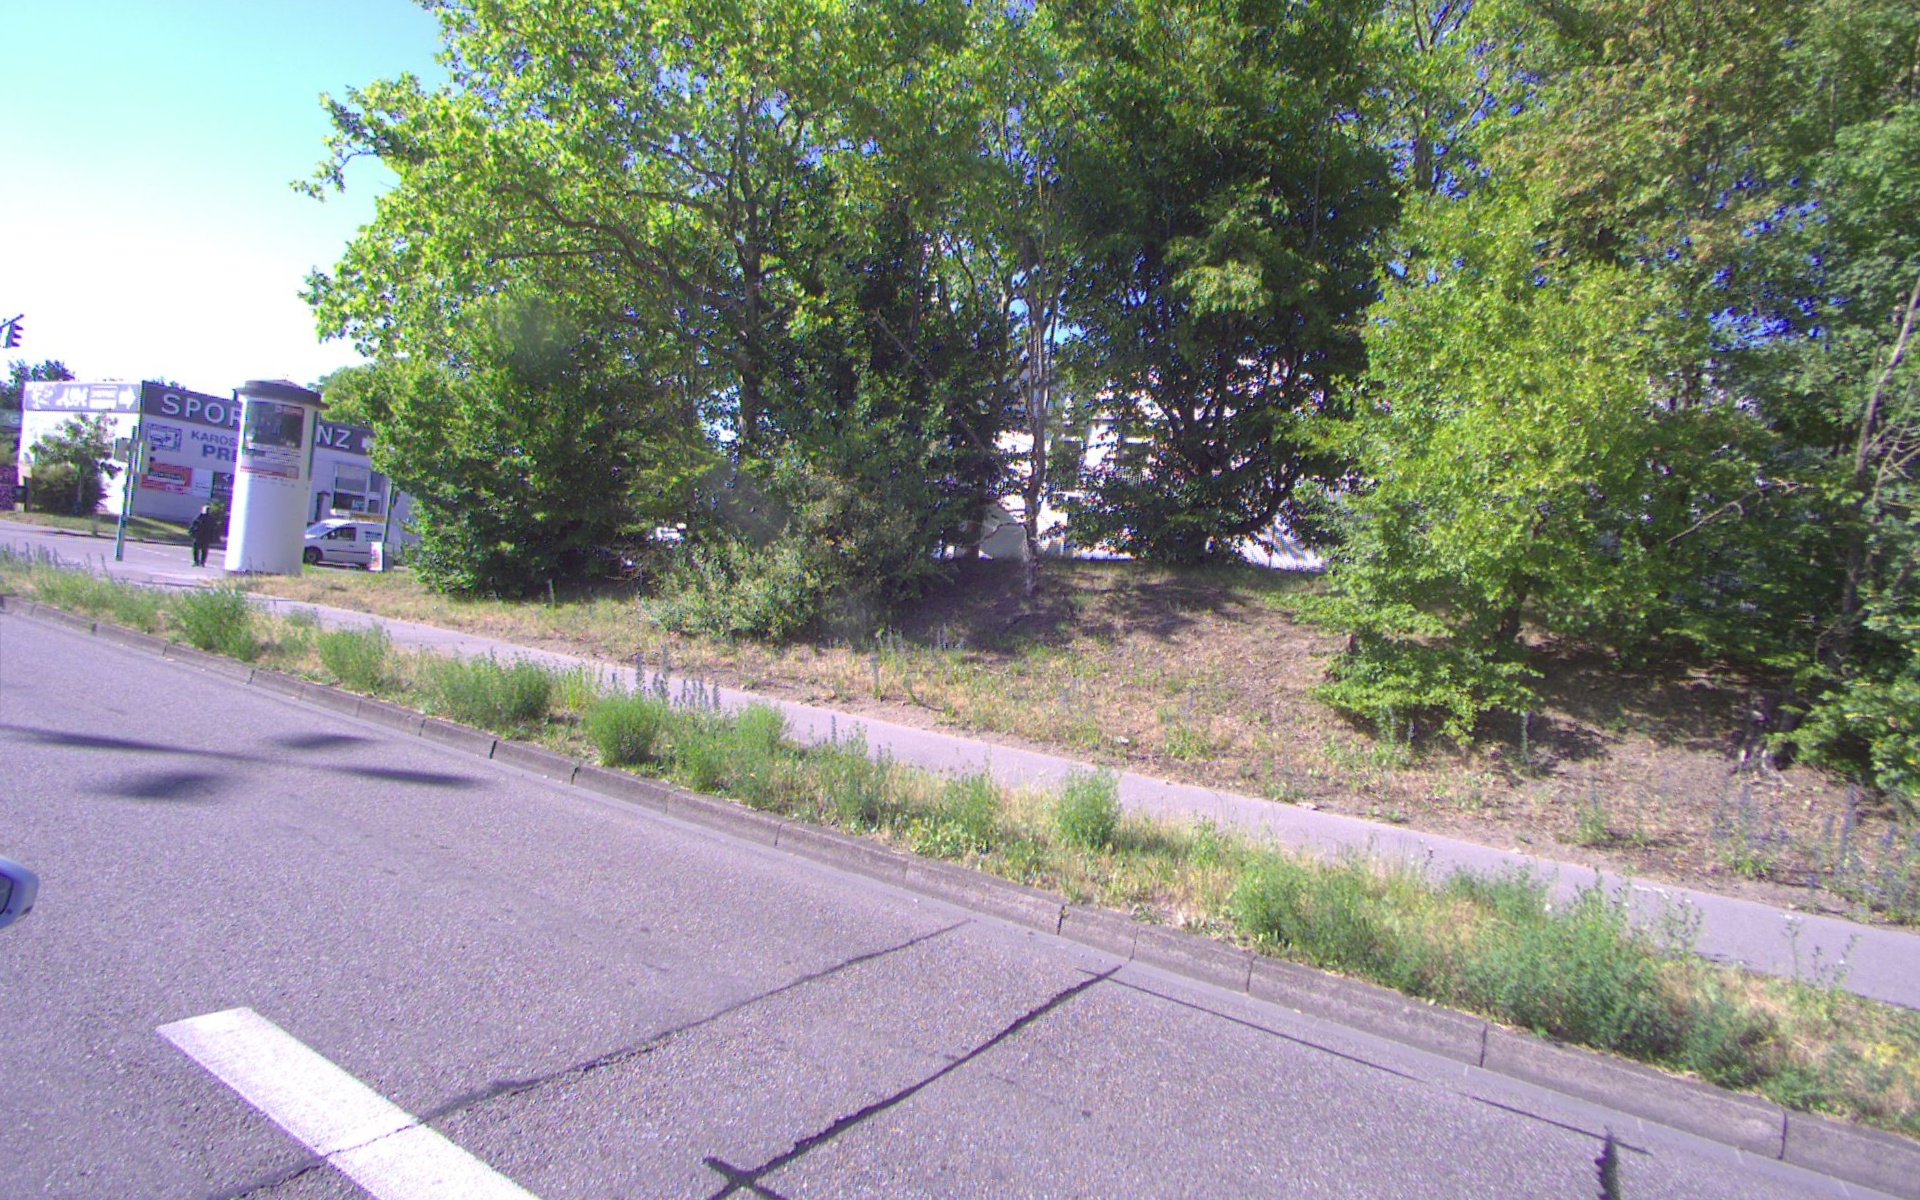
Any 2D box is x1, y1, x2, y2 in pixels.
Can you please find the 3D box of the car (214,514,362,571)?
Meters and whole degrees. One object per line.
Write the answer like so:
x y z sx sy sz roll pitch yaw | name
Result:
-26.842 -2.284 40.353 1.965 1.571 4.415 7 -1 28 | car

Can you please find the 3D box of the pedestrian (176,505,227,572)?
-21.166 -1.714 28.074 0.841 1.743 0.822 7 0 39 | pedestrian

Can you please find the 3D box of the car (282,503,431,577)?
-23.399 -2.288 39.181 1.965 2.171 4.415 7 -1 28 | car

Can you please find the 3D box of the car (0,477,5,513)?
-48.299 -5.346 47.692 1.663 1.726 4.003 7 -1 16 | car
